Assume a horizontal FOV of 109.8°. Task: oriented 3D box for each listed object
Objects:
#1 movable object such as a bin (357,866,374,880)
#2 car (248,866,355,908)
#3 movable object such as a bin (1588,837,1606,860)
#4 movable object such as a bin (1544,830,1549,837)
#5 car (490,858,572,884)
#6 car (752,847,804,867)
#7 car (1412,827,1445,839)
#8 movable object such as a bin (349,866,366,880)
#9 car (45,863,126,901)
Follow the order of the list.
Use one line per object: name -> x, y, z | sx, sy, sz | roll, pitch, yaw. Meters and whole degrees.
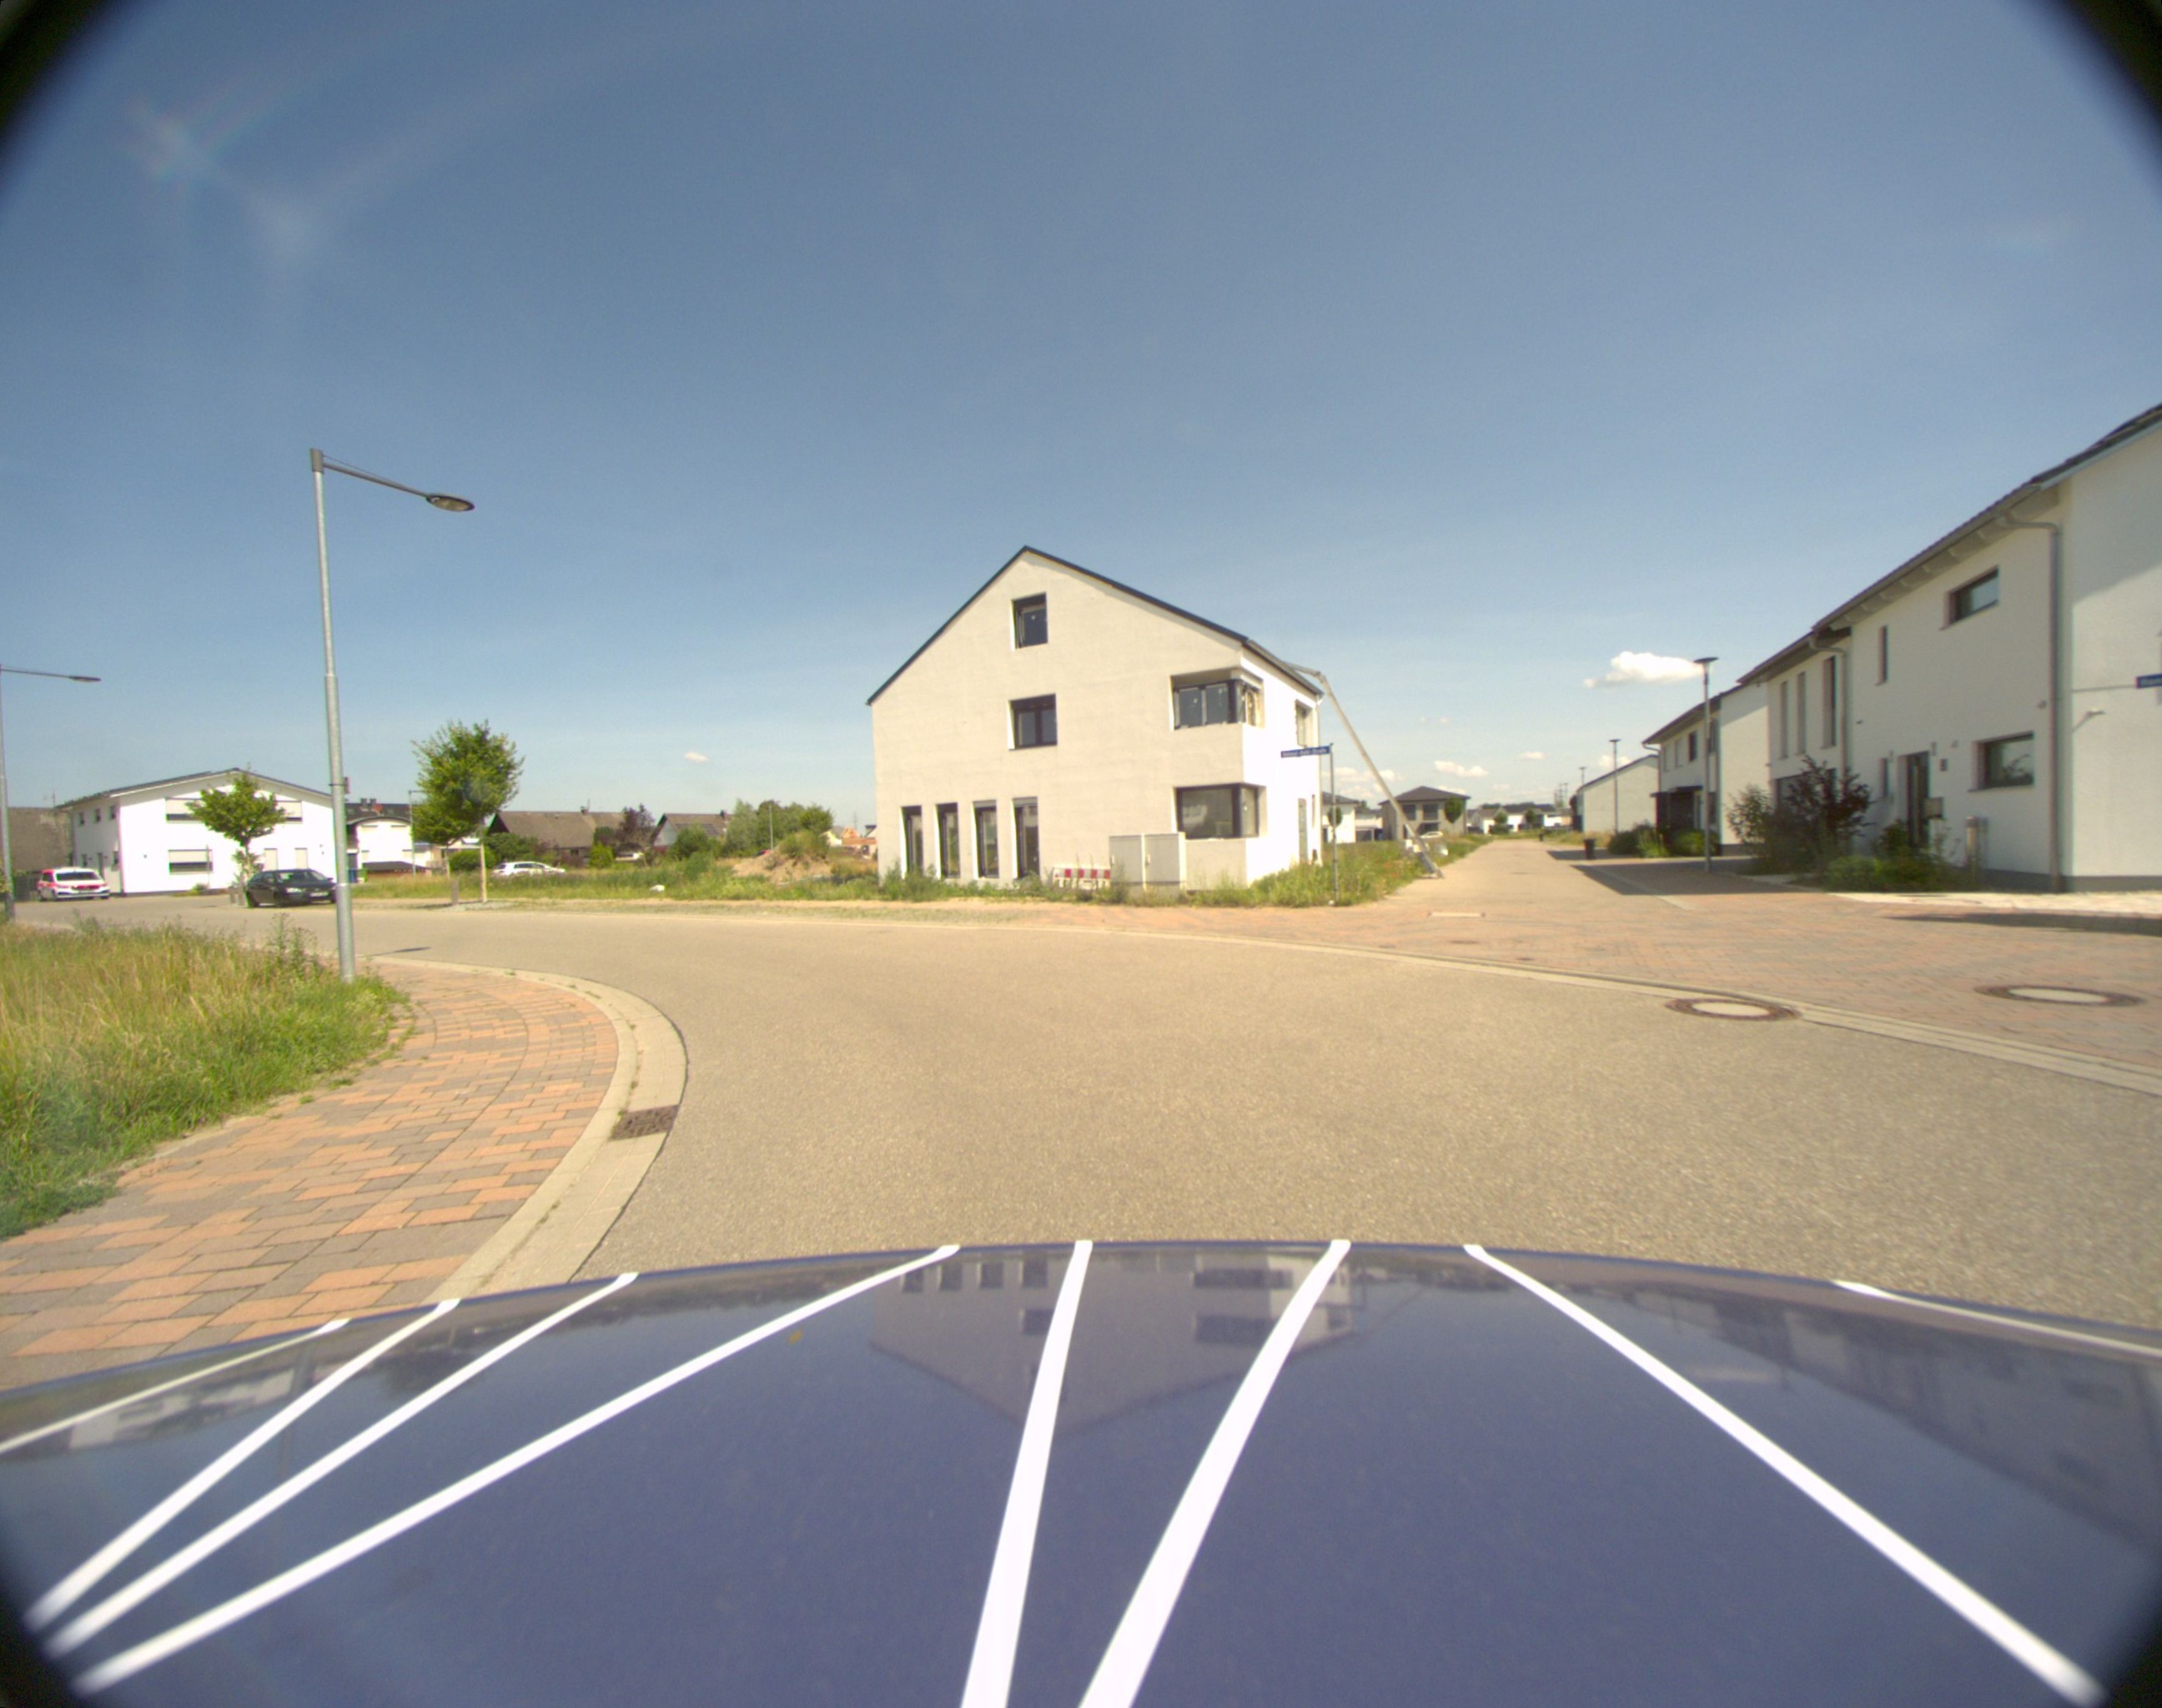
movable object such as a bin -> -51.685, 1.352, 54.864 | 0.739, 0.999, 0.687 | -1, 2, 31
car -> -30.954, 1.286, 30.164 | 4.133, 1.446, 1.820 | -1, 3, 28
movable object such as a bin -> 21.724, -0.226, 32.013 | 0.596, 0.916, 0.462 | -1, 2, 31
movable object such as a bin -> 57.454, -2.507, 93.781 | 0.596, 0.916, 0.462 | -1, 2, 31
car -> -36.581, 1.101, 50.619 | 1.804, 1.494, 4.007 | -1, 1, 34
car -> -26.711, 0.281, 67.120 | 1.805, 1.607, 4.007 | -1, 1, 30
car -> 47.154, -2.831, 103.171 | 3.991, 1.543, 1.837 | -1, 1, 22
movable object such as a bin -> -52.473, 1.368, 55.132 | 0.739, 0.999, 0.687 | -1, 2, 31
car -> -54.674, 1.516, 41.715 | 4.547, 1.875, 1.859 | -1, 3, 28
